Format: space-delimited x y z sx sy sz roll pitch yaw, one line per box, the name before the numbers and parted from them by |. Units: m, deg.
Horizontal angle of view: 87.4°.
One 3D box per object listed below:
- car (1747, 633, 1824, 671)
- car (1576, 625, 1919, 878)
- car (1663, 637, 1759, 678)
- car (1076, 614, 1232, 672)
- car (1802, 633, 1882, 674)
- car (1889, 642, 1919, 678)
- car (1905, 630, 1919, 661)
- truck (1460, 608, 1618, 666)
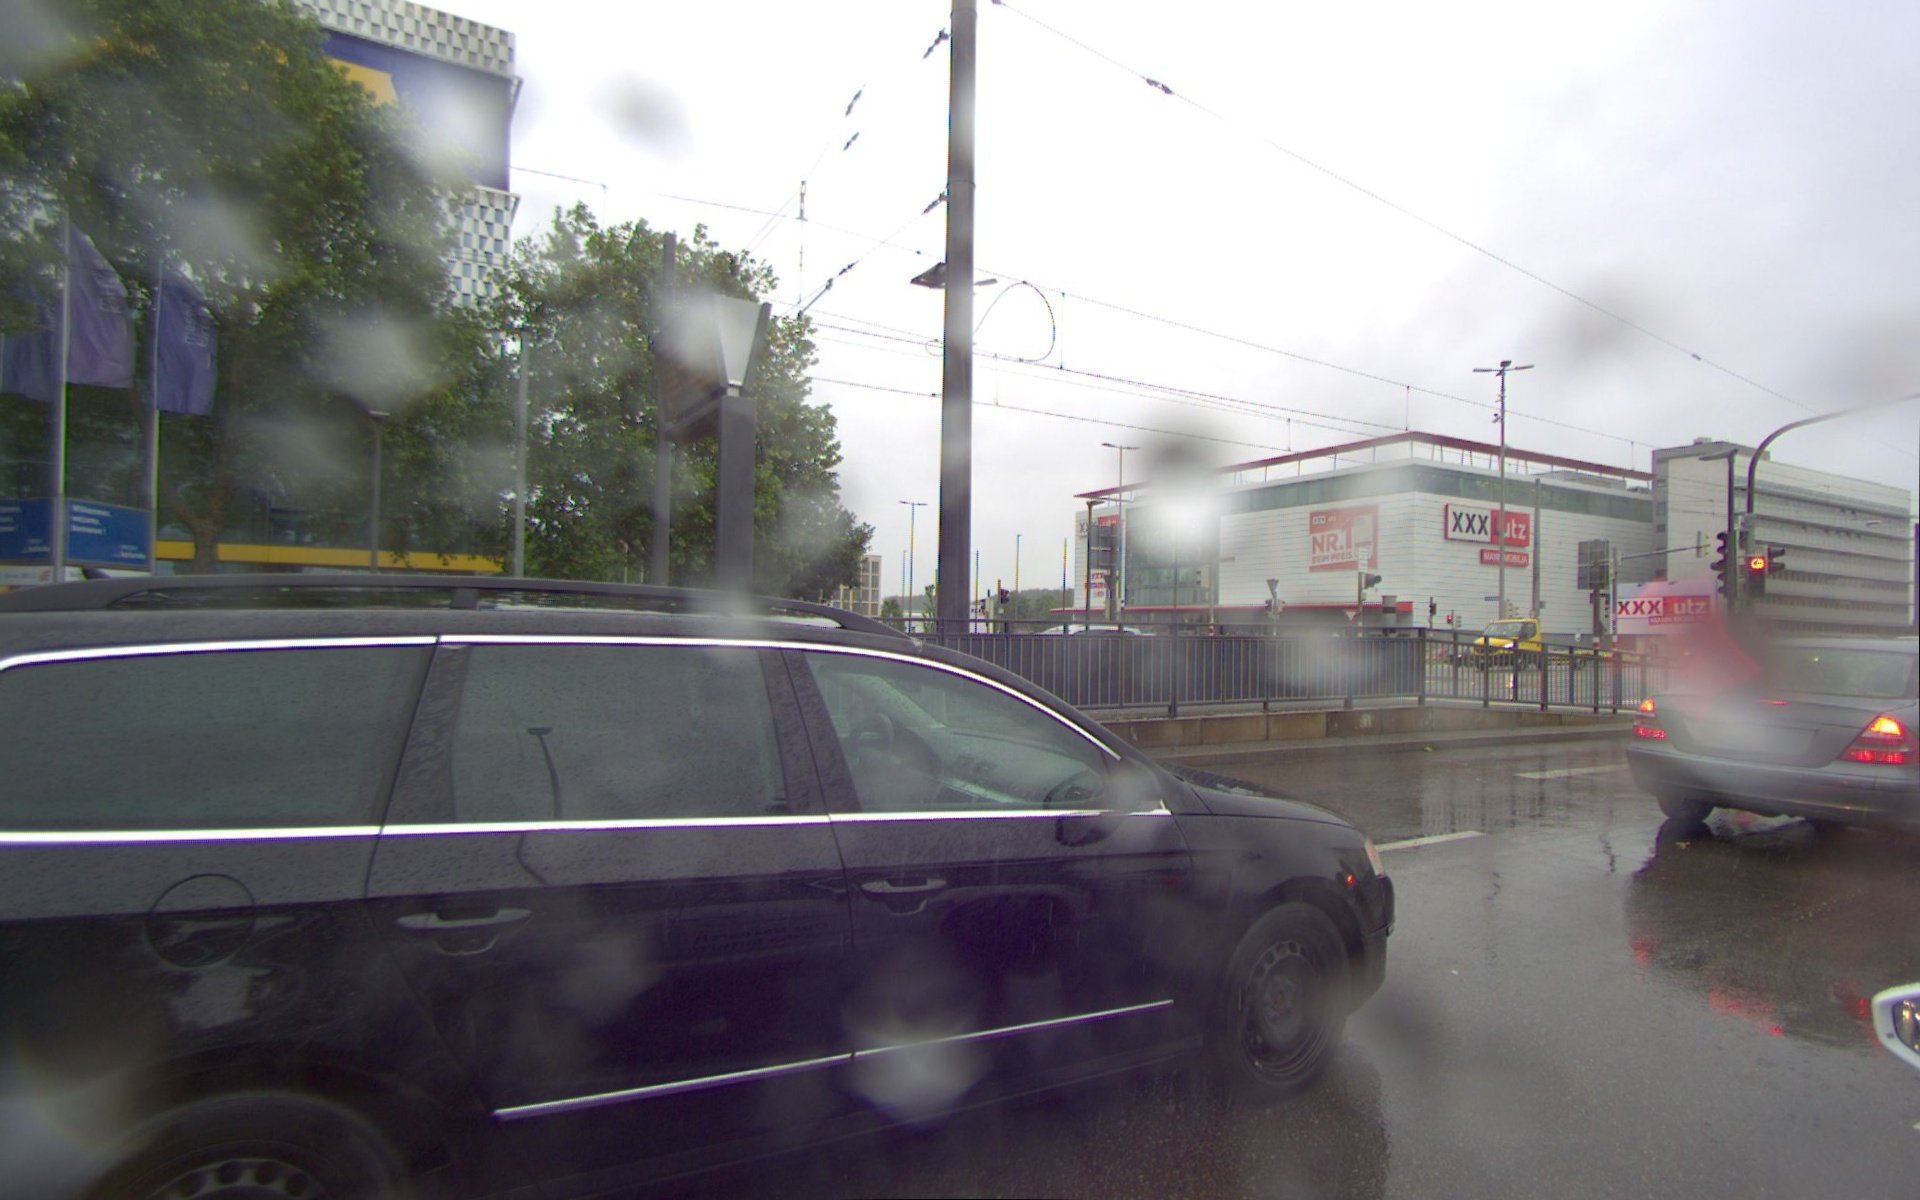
car | 44.285 2.780 53.860 3.488 1.682 1.726 5 -1 -23
car | 6.958 1.005 7.784 4.591 1.417 1.754 3 -1 -30
car | 34.159 2.611 45.685 3.948 1.722 1.886 3 -1 -26
car | 5.092 1.126 26.312 3.780 1.353 1.582 3 -1 -26
car | 44.899 2.727 51.139 3.952 1.821 1.838 4 -2 -29
car | 52.381 3.280 54.207 3.947 1.851 1.923 2 0 -26
car | 64.723 3.077 66.436 3.950 2.040 1.986 3 0 -28
truck | 25.546 1.645 44.208 7.537 2.309 2.342 3 -1 -28
